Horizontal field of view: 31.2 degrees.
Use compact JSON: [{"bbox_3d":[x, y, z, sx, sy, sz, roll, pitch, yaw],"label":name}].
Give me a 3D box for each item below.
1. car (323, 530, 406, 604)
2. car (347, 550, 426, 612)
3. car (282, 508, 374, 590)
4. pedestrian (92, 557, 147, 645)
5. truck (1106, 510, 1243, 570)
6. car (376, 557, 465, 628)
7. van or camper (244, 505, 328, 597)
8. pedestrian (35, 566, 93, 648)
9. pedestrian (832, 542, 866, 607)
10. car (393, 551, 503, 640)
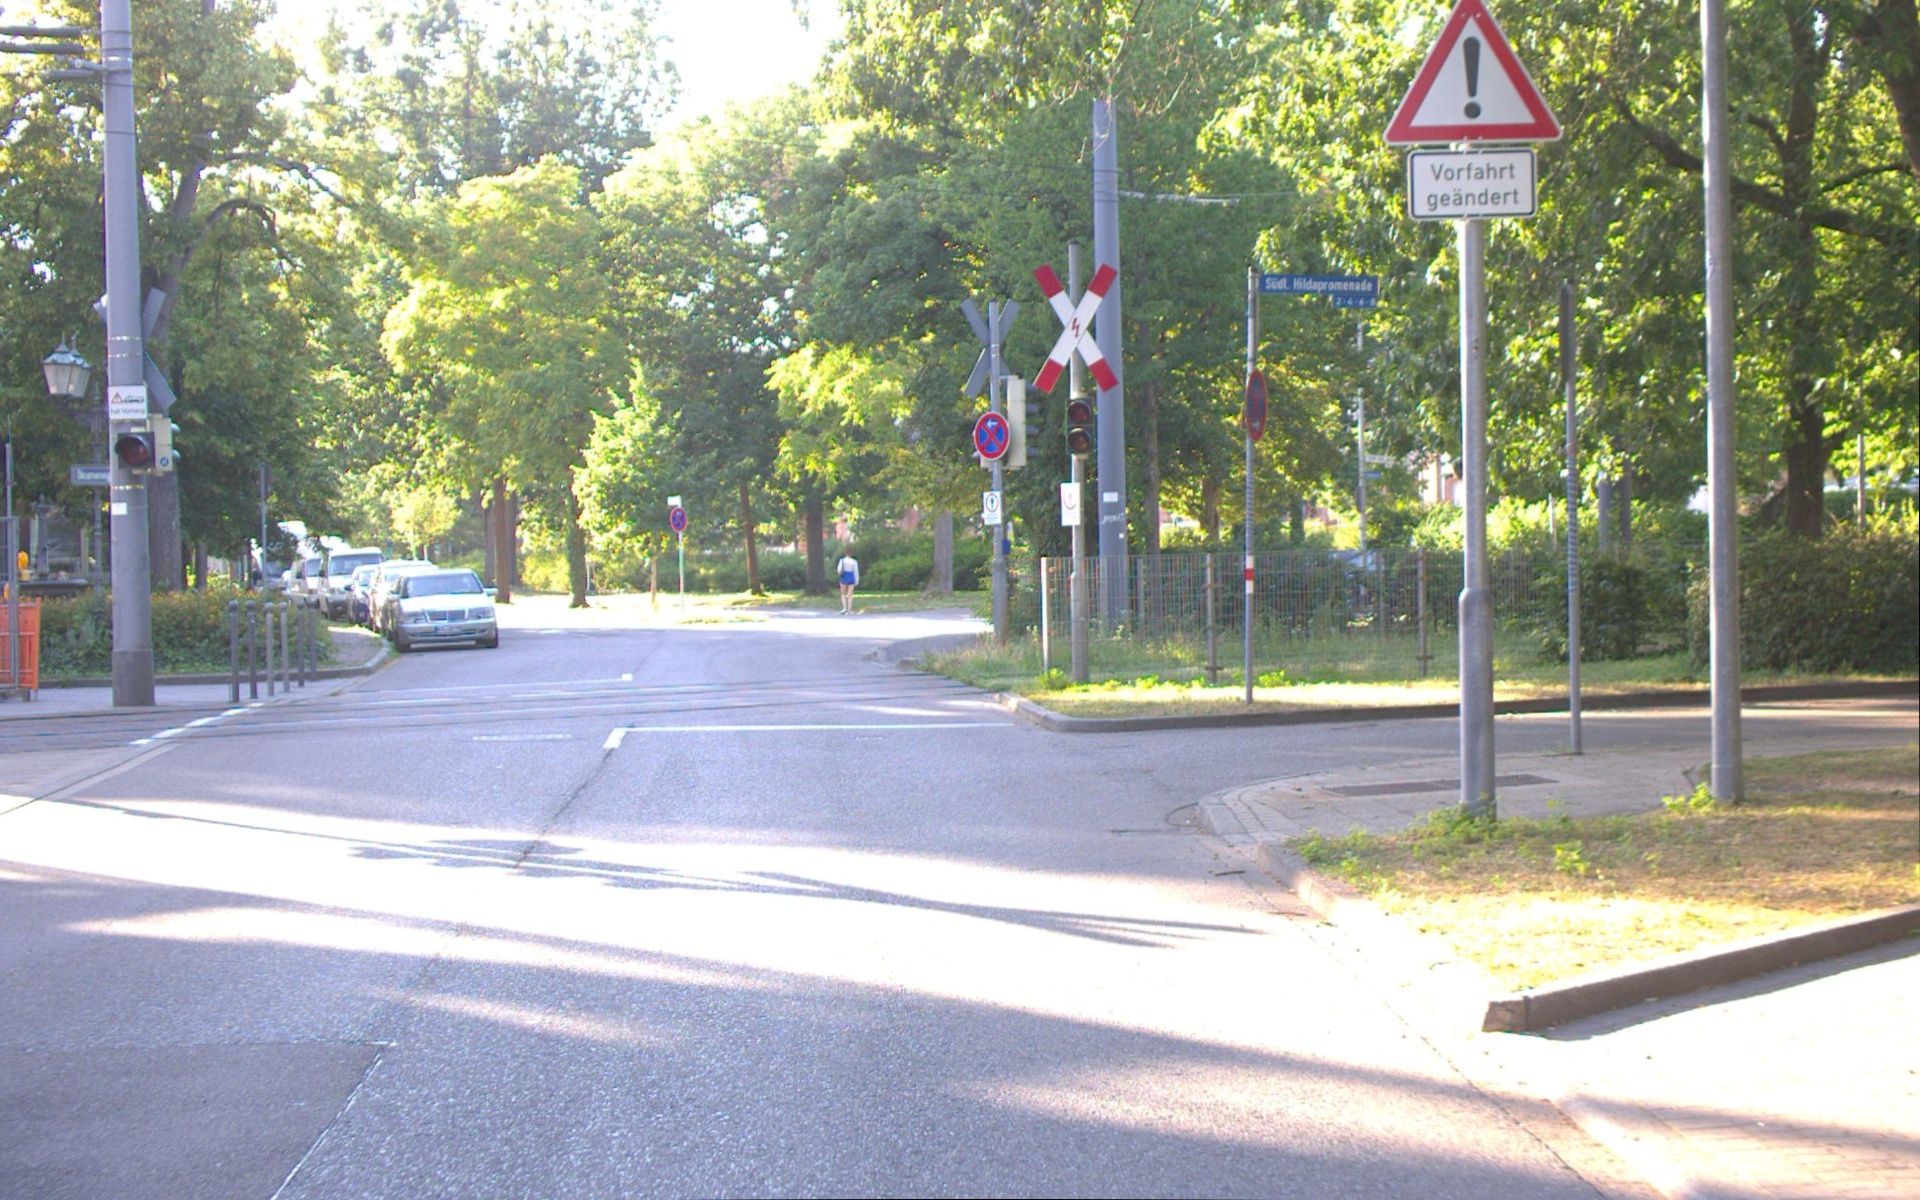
[{"bbox_3d":[-16.359,-0.917,94.360,1.850,1.939,4.842,-1,1,-14],"label":"car"},{"bbox_3d":[-14.374,-0.482,86.050,1.615,1.496,3.698,-1,1,-14],"label":"car"},{"bbox_3d":[-18.624,-1.494,101.140,1.850,2.347,5.188,-1,1,-19],"label":"car"},{"bbox_3d":[-12.519,0.013,51.211,0.551,1.293,0.766,-1,1,4],"label":"pedestrian"},{"bbox_3d":[10.932,-3.046,176.048,2.604,3.019,8.008,-1,1,-34],"label":"truck"},{"bbox_3d":[-11.740,-0.184,74.661,1.612,1.435,3.607,-3,1,-13],"label":"car"},{"bbox_3d":[-22.299,-1.617,113.555,2.089,2.898,6.334,-1,1,-17],"label":"van or camper"},{"bbox_3d":[-13.301,0.101,51.061,0.551,1.191,0.884,-1,1,4],"label":"pedestrian"},{"bbox_3d":[-2.721,-0.625,84.493,0.773,1.569,0.768,-1,1,-4],"label":"pedestrian"},{"bbox_3d":[-9.171,-0.112,61.358,1.779,1.411,4.499,-3,1,-10],"label":"car"}]
